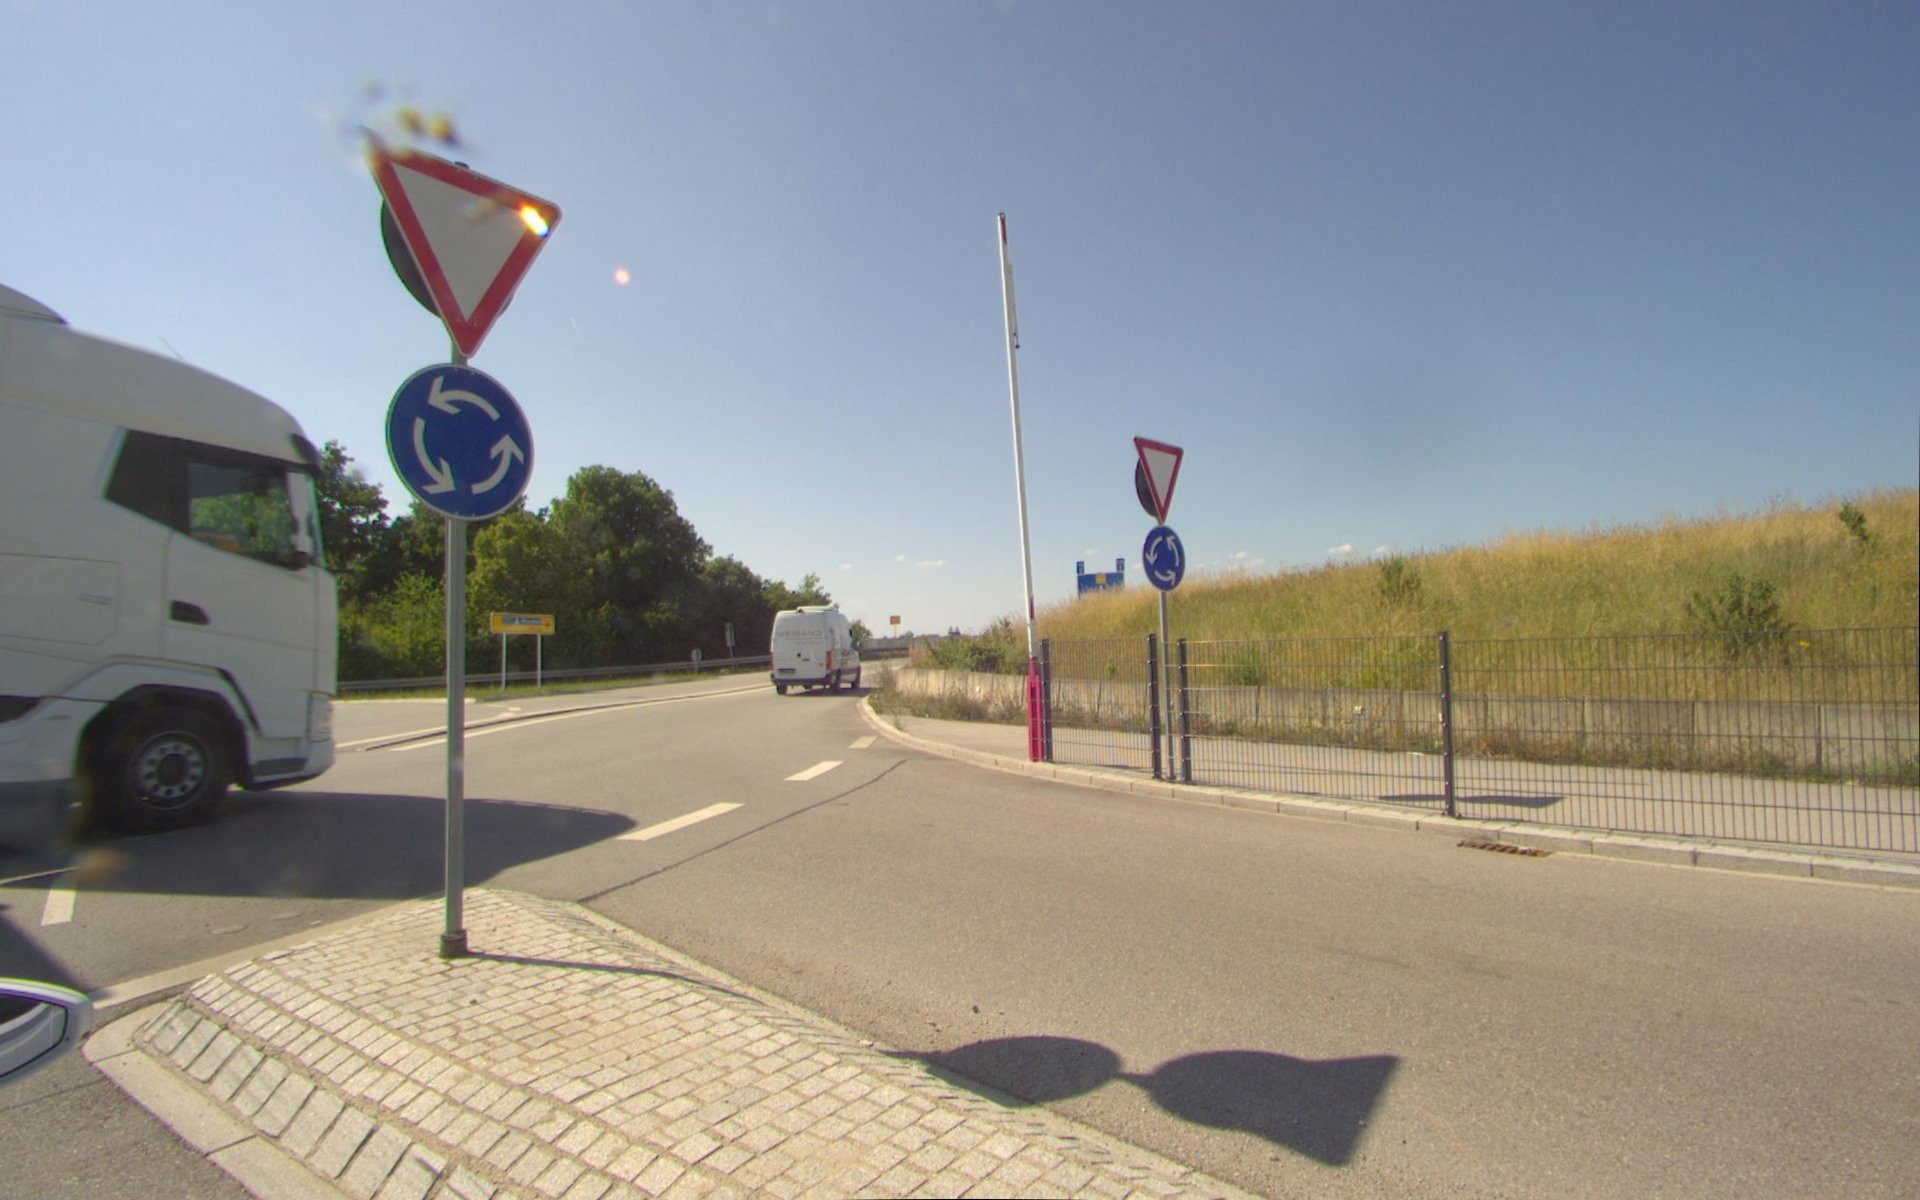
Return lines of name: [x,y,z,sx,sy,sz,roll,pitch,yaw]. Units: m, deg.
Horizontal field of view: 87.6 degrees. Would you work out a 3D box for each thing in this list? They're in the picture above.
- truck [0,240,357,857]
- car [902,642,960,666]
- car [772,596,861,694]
truck: [-7.995,-0.339,6.664,2.623,4.159,6.408,-2,-2,29]
car: [-1.509,2.888,53.900,1.649,1.197,3.856,-2,-3,23]
car: [-4.656,1.506,33.372,2.044,2.957,6.143,-1,-3,0]
